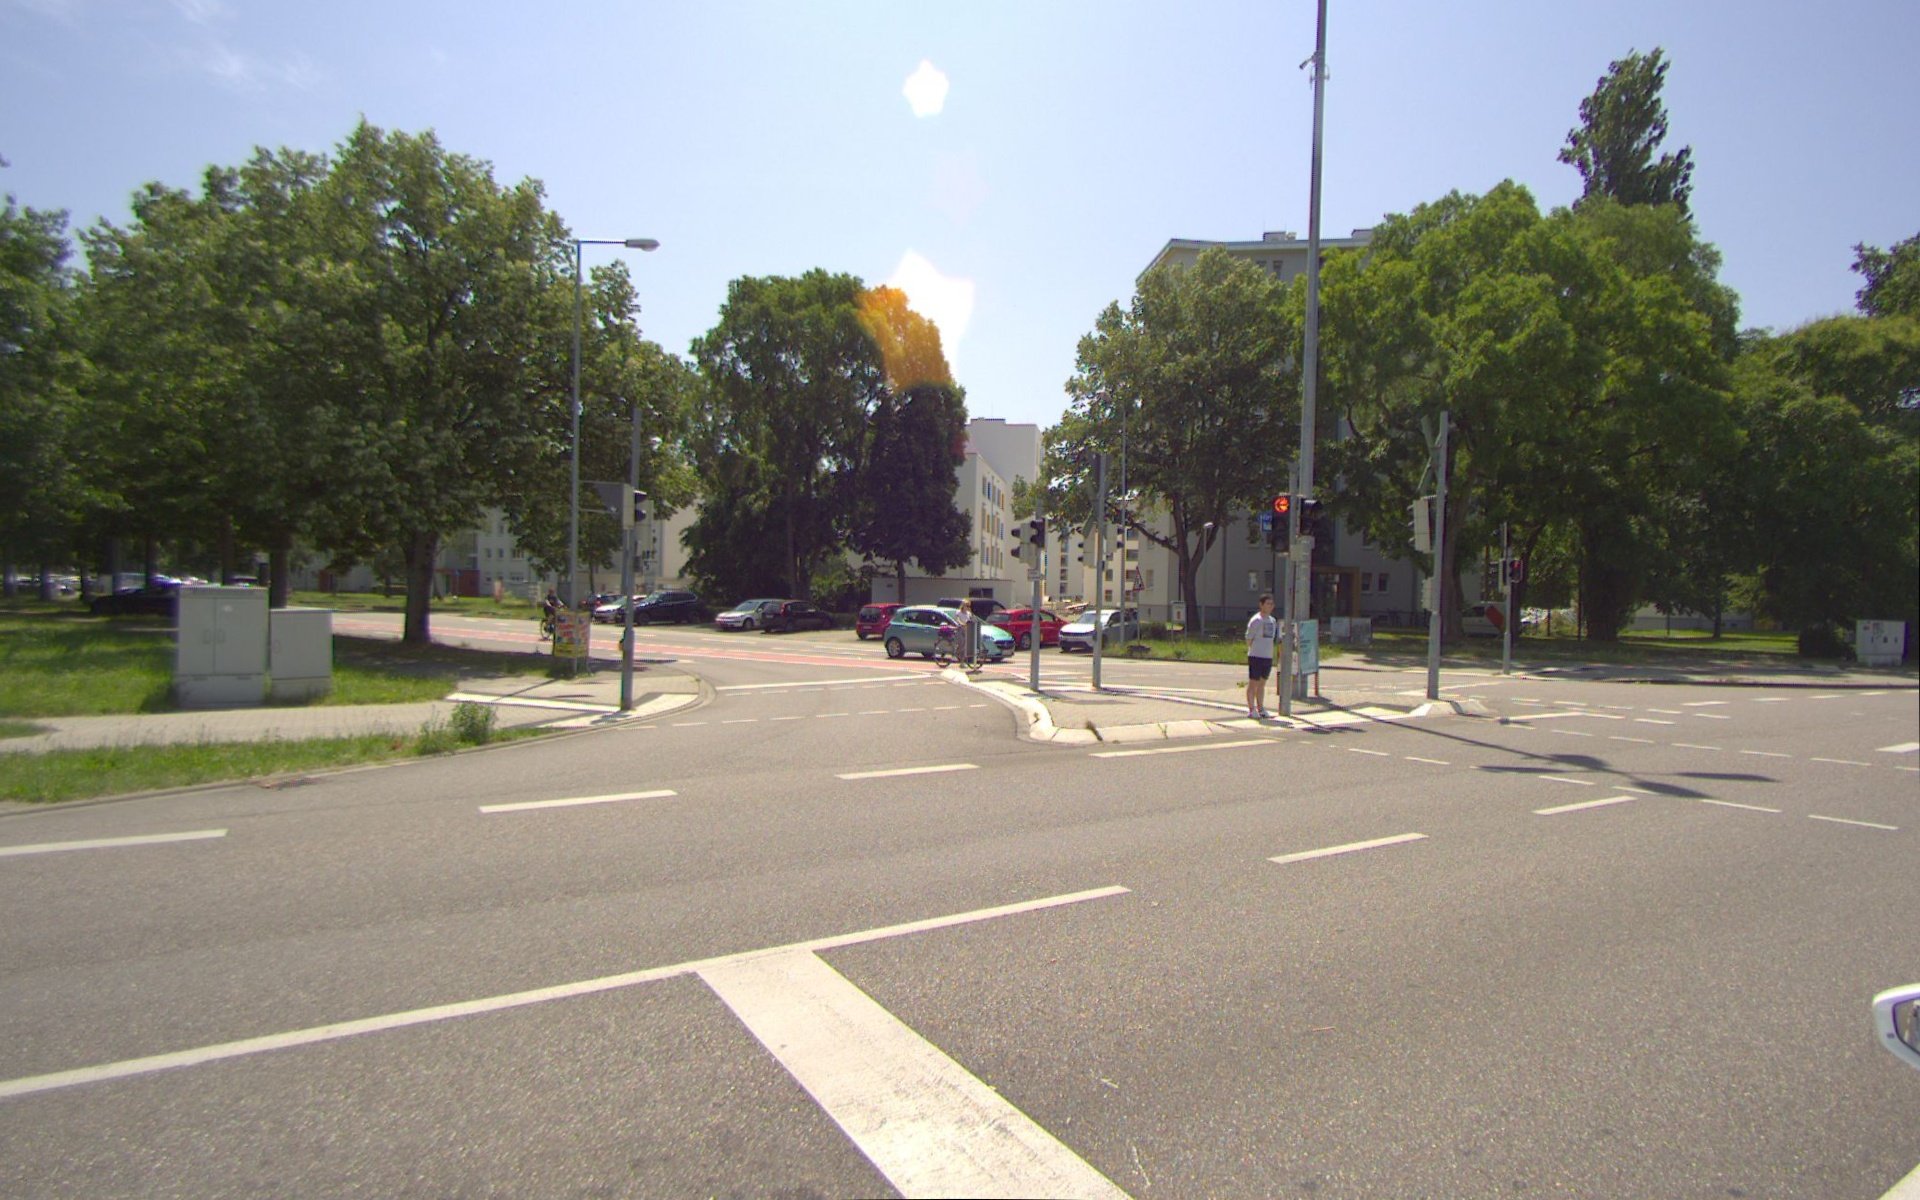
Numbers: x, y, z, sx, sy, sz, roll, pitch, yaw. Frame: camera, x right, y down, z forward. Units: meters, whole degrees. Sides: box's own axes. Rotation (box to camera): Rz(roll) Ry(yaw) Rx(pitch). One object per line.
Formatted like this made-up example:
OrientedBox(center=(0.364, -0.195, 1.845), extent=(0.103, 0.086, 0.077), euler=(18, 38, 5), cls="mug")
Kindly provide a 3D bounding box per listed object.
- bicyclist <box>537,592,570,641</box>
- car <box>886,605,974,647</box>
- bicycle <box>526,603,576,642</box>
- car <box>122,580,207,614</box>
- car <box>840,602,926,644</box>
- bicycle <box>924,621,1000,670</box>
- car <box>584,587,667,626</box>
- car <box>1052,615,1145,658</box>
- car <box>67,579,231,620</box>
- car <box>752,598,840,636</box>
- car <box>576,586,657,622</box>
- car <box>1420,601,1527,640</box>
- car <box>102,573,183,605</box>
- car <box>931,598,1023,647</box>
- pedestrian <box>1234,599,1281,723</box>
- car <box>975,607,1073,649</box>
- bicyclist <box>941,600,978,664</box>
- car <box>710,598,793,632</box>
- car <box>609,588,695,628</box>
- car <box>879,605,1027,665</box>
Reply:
OrientedBox(center=(-14.673, 0.591, 36.264), extent=(0.884, 1.715, 0.770), euler=(2, 0, 38), cls="bicyclist")
OrientedBox(center=(-1.190, 1.042, 42.021), extent=(1.680, 1.613, 3.989), euler=(3, 1, 33), cls="car")
OrientedBox(center=(-14.806, 0.794, 36.354), extent=(2.028, 1.317, 0.770), euler=(1, 0, 38), cls="bicycle")
OrientedBox(center=(-51.900, -0.212, 65.583), extent=(1.969, 2.041, 3.982), euler=(6, 3, 39), cls="car")
OrientedBox(center=(-3.299, 0.973, 43.750), extent=(1.819, 1.690, 3.993), euler=(1, 0, 29), cls="car")
OrientedBox(center=(0.034, 1.092, 24.759), extent=(1.840, 1.108, 0.644), euler=(1, 0, 38), cls="bicycle")
OrientedBox(center=(-18.200, 0.343, 54.781), extent=(1.822, 1.974, 3.984), euler=(3, 1, 37), cls="car")
OrientedBox(center=(5.181, 1.297, 37.138), extent=(1.604, 1.399, 3.983), euler=(3, 1, 38), cls="car")
OrientedBox(center=(-31.245, -0.011, 38.860), extent=(4.505, 1.487, 1.995), euler=(0, 0, -13), cls="car")
OrientedBox(center=(-7.770, 0.802, 47.888), extent=(1.823, 1.734, 3.985), euler=(1, 0, 37), cls="car")
OrientedBox(center=(-19.587, 0.224, 57.385), extent=(1.822, 1.974, 3.984), euler=(3, 1, 37), cls="car")
OrientedBox(center=(25.982, 1.004, 50.911), extent=(4.456, 1.791, 1.793), euler=(1, 0, 10), cls="car")
OrientedBox(center=(-56.269, -0.737, 69.180), extent=(1.969, 2.041, 3.982), euler=(6, 3, 39), cls="car")
OrientedBox(center=(0.733, 0.872, 40.726), extent=(1.682, 1.825, 3.984), euler=(3, 1, 37), cls="car")
OrientedBox(center=(4.194, 0.849, 14.160), extent=(0.481, 1.710, 0.380), euler=(1, 1, -34), cls="pedestrian")
OrientedBox(center=(2.516, 1.054, 38.742), extent=(1.600, 1.483, 3.976), euler=(3, 1, 43), cls="car")
OrientedBox(center=(-0.016, 0.779, 24.811), extent=(0.655, 1.557, 0.629), euler=(2, 0, 38), cls="bicyclist")
OrientedBox(center=(-10.139, 0.724, 49.030), extent=(1.667, 1.583, 3.823), euler=(1, 0, 37), cls="car")
OrientedBox(center=(-16.173, 0.405, 52.862), extent=(1.822, 1.974, 3.984), euler=(3, 1, 37), cls="car")
OrientedBox(center=(-0.237, 0.933, 28.082), extent=(3.834, 1.488, 1.769), euler=(1, 0, 36), cls="car")
